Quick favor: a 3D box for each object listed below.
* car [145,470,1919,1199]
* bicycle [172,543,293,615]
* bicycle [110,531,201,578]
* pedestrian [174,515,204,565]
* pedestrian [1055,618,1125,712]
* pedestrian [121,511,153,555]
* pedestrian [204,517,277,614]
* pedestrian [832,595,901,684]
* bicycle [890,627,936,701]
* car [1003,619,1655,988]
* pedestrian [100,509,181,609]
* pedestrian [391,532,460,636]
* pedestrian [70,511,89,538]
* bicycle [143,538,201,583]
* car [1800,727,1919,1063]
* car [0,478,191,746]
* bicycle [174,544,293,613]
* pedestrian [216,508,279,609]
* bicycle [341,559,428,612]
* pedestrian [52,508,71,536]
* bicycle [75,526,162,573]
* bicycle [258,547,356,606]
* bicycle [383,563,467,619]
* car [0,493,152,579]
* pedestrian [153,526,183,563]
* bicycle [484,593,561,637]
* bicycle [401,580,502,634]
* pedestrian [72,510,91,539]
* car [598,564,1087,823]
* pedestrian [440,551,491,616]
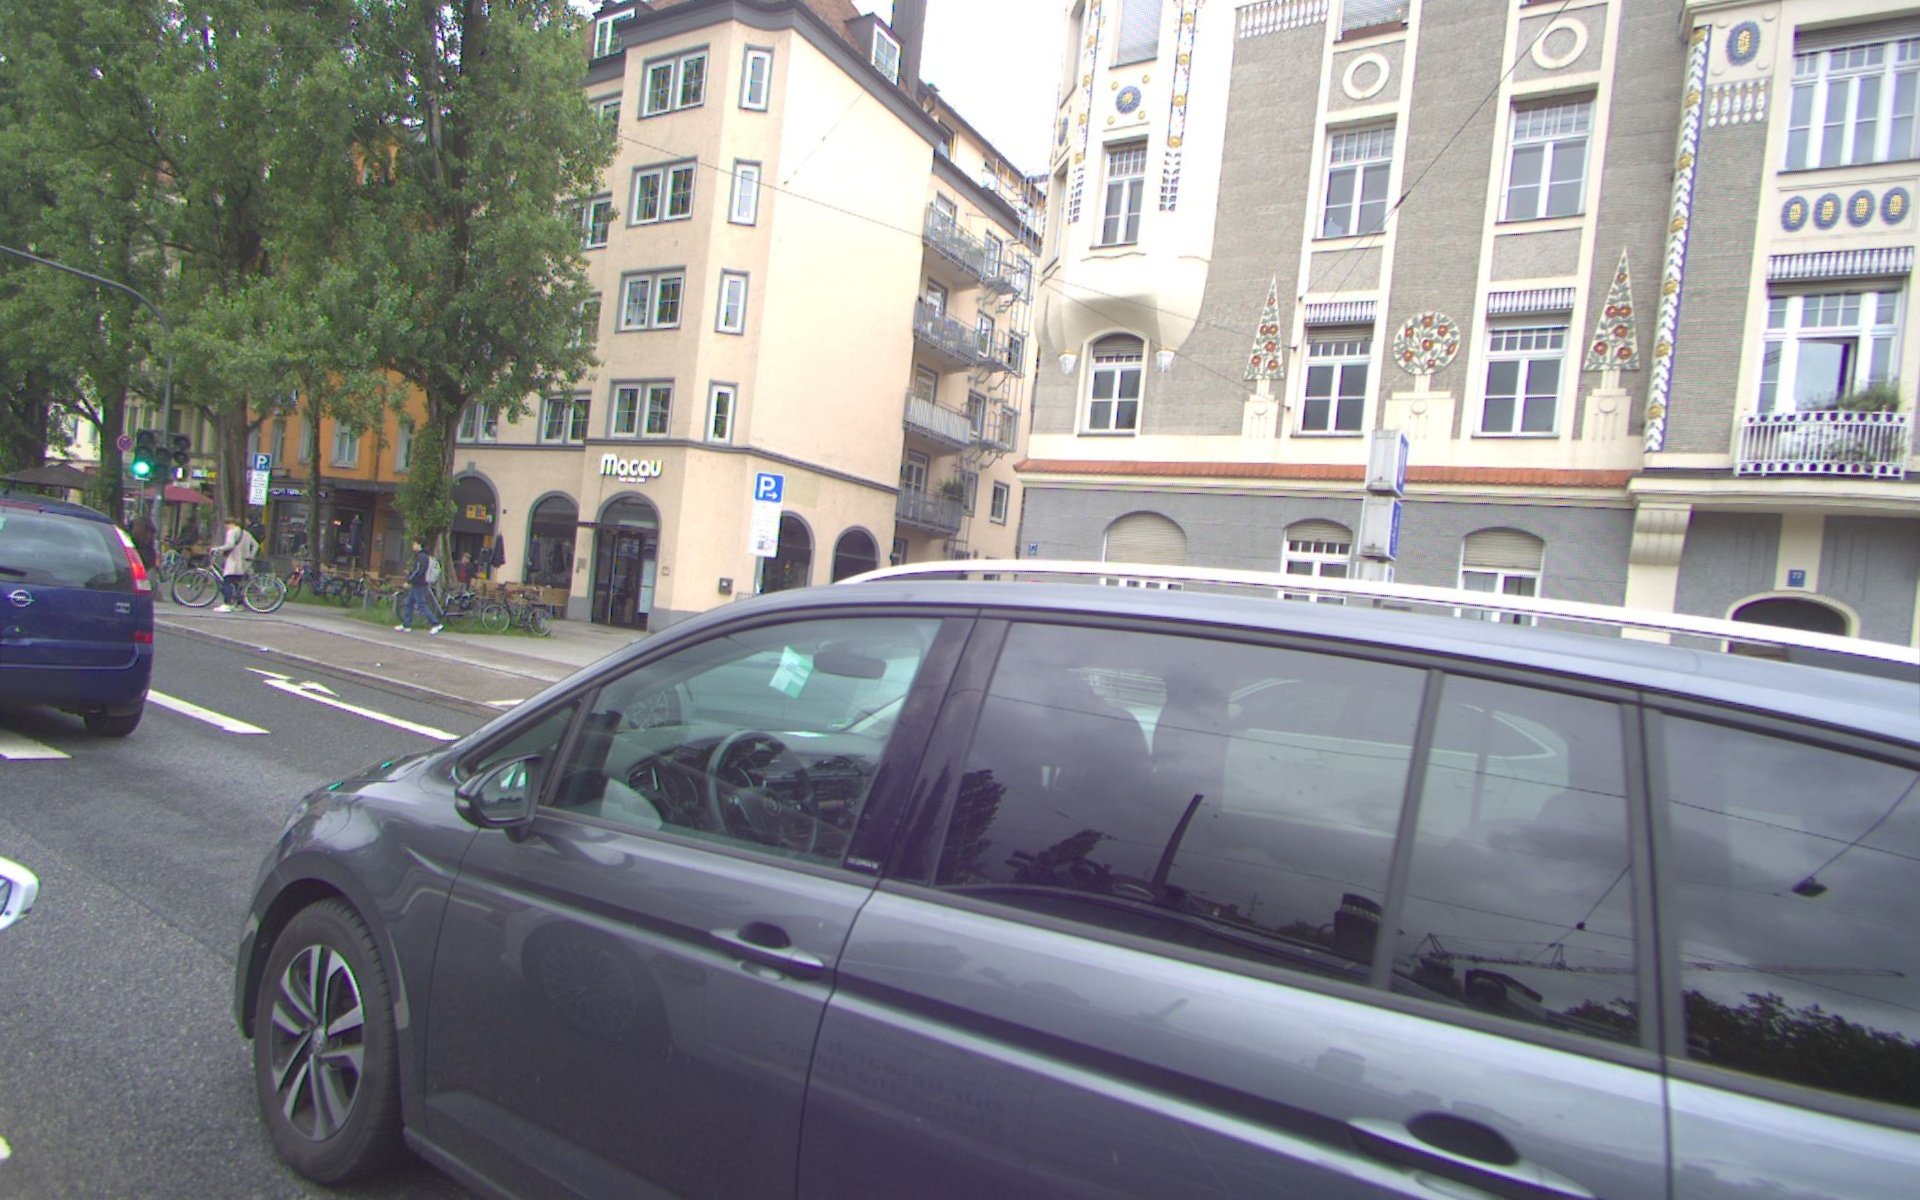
[{"bbox_3d":[0.136,0.727,2.363,4.631,1.667,1.772,6,0,33],"label":"car"},{"bbox_3d":[-13.327,-0.380,18.459,1.716,1.116,0.358,6,1,-13],"label":"bicycle"},{"bbox_3d":[-22.242,-1.244,27.858,0.450,1.067,1.890,6,0,29],"label":"bicycle"},{"bbox_3d":[-28.817,-2.235,37.607,0.655,1.761,0.600,6,1,32],"label":"pedestrian"},{"bbox_3d":[2.603,1.294,20.104,1.000,1.735,0.746,6,1,32],"label":"pedestrian"},{"bbox_3d":[-33.415,-2.726,40.835,0.773,1.653,0.711,6,1,32],"label":"pedestrian"},{"bbox_3d":[-13.185,-0.620,18.463,0.690,1.658,0.754,7,1,-11],"label":"pedestrian"},{"bbox_3d":[-1.918,0.811,20.623,1.000,1.706,0.746,6,1,32],"label":"pedestrian"},{"bbox_3d":[-0.862,1.117,17.967,0.457,1.168,1.884,6,-1,-10],"label":"bicycle"},{"bbox_3d":[2.490,1.170,7.211,3.903,1.597,1.727,6,1,34],"label":"car"},{"bbox_3d":[-14.066,-0.698,17.273,0.750,1.582,0.761,7,1,30],"label":"pedestrian"},{"bbox_3d":[-10.166,-0.300,19.133,0.874,1.822,0.750,9,-2,-33],"label":"pedestrian"},{"bbox_3d":[-44.637,-3.828,50.999,0.543,1.305,0.495,6,1,32],"label":"pedestrian"},{"bbox_3d":[-19.927,-0.997,25.435,1.626,0.977,0.589,6,1,32],"label":"bicycle"},{"bbox_3d":[6.575,1.687,4.712,3.680,1.527,1.728,6,0,31],"label":"car"},{"bbox_3d":[-7.235,-0.079,7.038,3.498,1.607,1.706,6,-2,32],"label":"car"},{"bbox_3d":[-13.746,-0.402,19.078,1.722,1.116,0.357,6,1,-24],"label":"bicycle"},{"bbox_3d":[-13.530,-0.788,19.125,0.692,1.802,0.647,7,1,-25],"label":"pedestrian"},{"bbox_3d":[-14.417,-0.348,25.251,0.440,1.123,1.799,7,-1,33],"label":"bicycle"},{"bbox_3d":[-45.057,-3.911,50.441,0.543,1.305,0.495,6,1,32],"label":"pedestrian"},{"bbox_3d":[-25.734,-1.540,30.809,0.573,1.188,1.889,6,0,33],"label":"bicycle"},{"bbox_3d":[-15.346,-0.533,23.696,0.440,1.122,1.800,7,-2,33],"label":"bicycle"},{"bbox_3d":[-11.821,-0.180,22.264,0.386,1.063,1.574,6,-1,33],"label":"bicycle"},{"bbox_3d":[-19.711,-1.449,21.725,4.452,1.458,1.996,6,0,30],"label":"car"},{"bbox_3d":[-29.049,-2.034,36.896,0.655,1.237,0.601,6,1,32],"label":"pedestrian"},{"bbox_3d":[-9.690,0.342,22.324,0.385,0.845,1.575,6,-1,29],"label":"bicycle"},{"bbox_3d":[-10.435,0.167,20.703,0.386,0.928,1.835,6,-1,33],"label":"bicycle"},{"bbox_3d":[-44.068,-3.777,50.439,0.543,1.349,0.495,6,1,32],"label":"pedestrian"},{"bbox_3d":[-1.230,0.737,9.693,4.427,1.682,1.734,6,1,31],"label":"car"},{"bbox_3d":[-13.411,-0.441,27.271,0.810,1.622,0.846,7,1,37],"label":"pedestrian"}]
